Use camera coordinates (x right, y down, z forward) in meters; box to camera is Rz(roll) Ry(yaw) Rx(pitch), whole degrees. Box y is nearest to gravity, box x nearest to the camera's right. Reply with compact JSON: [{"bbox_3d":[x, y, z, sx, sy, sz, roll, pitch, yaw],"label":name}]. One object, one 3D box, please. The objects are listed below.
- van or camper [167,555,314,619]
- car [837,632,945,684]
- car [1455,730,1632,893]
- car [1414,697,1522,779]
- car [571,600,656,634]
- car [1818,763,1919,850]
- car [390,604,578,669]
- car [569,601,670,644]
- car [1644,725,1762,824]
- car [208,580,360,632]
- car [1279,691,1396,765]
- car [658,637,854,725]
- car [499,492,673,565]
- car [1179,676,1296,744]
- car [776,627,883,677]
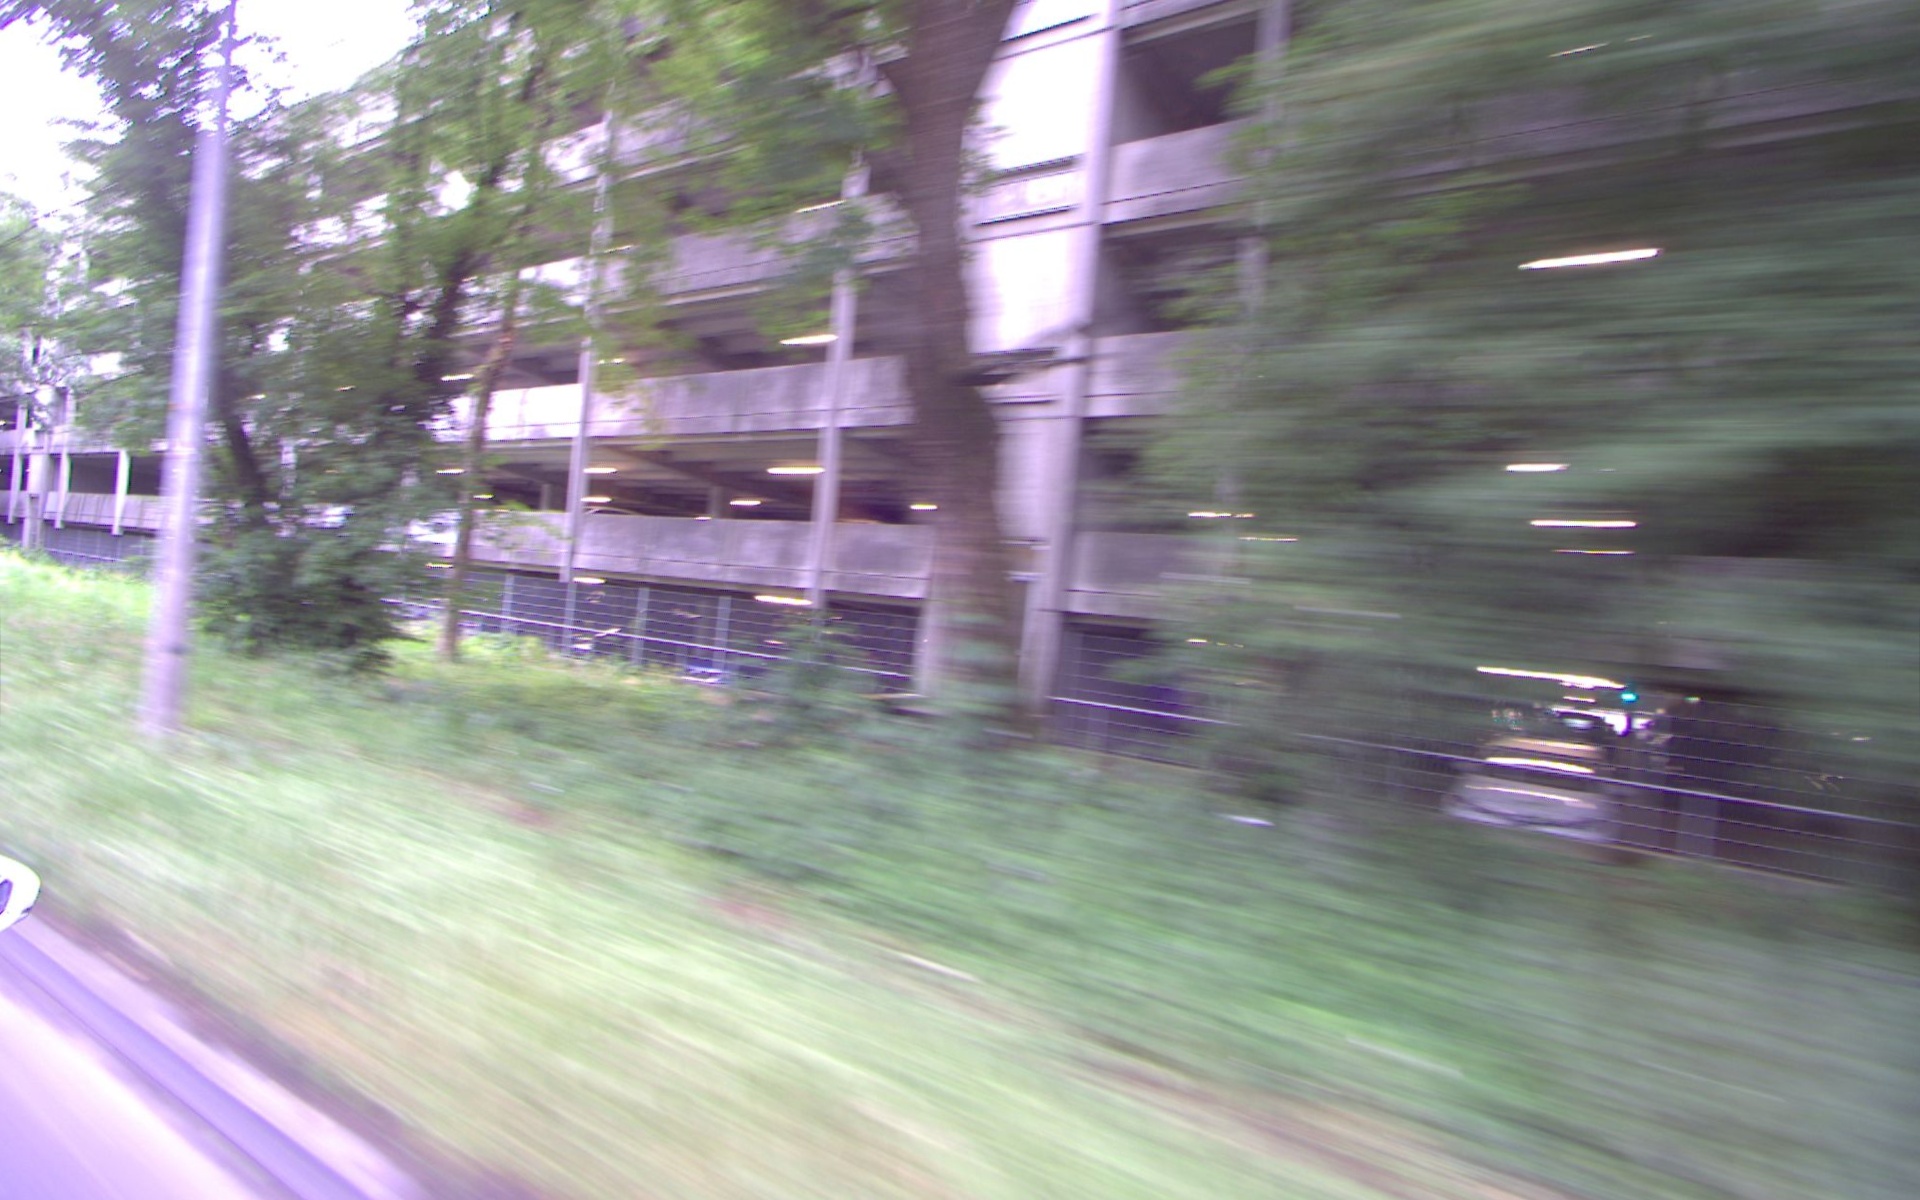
[{"bbox_3d":[-26.901,-0.444,37.752,1.810,1.978,4.008,6,-1,32],"label":"van or camper"},{"bbox_3d":[-2.263,1.977,33.876,1.646,1.501,3.665,6,0,33],"label":"car"},{"bbox_3d":[7.958,2.655,13.535,1.684,1.473,4.445,4,-2,34],"label":"car"},{"bbox_3d":[12.193,3.209,24.034,1.796,1.506,4.064,6,-1,32],"label":"car"},{"bbox_3d":[-17.459,0.895,50.812,1.696,1.440,3.692,5,0,35],"label":"car"},{"bbox_3d":[17.460,3.870,18.904,1.498,1.190,3.337,4,-2,33],"label":"car"},{"bbox_3d":[-13.884,1.116,29.598,1.917,1.525,4.593,6,0,34],"label":"car"},{"bbox_3d":[-14.229,0.969,42.204,1.648,1.459,3.660,6,0,37],"label":"car"},{"bbox_3d":[15.266,3.504,20.828,1.684,1.543,3.717,4,-2,34],"label":"car"},{"bbox_3d":[-24.137,0.245,36.040,1.918,1.454,4.009,5,-1,32],"label":"car"},{"bbox_3d":[9.457,3.112,25.019,1.796,1.433,4.064,6,-1,32],"label":"car"},{"bbox_3d":[-4.332,1.743,21.922,1.833,1.551,3.991,6,0,32],"label":"car"},{"bbox_3d":[-9.743,-1.842,26.411,1.805,1.360,3.830,6,0,38],"label":"car"},{"bbox_3d":[7.536,2.914,27.087,1.796,1.469,4.064,6,-1,32],"label":"car"},{"bbox_3d":[-4.524,1.853,35.197,1.646,1.497,3.665,6,0,33],"label":"car"}]
